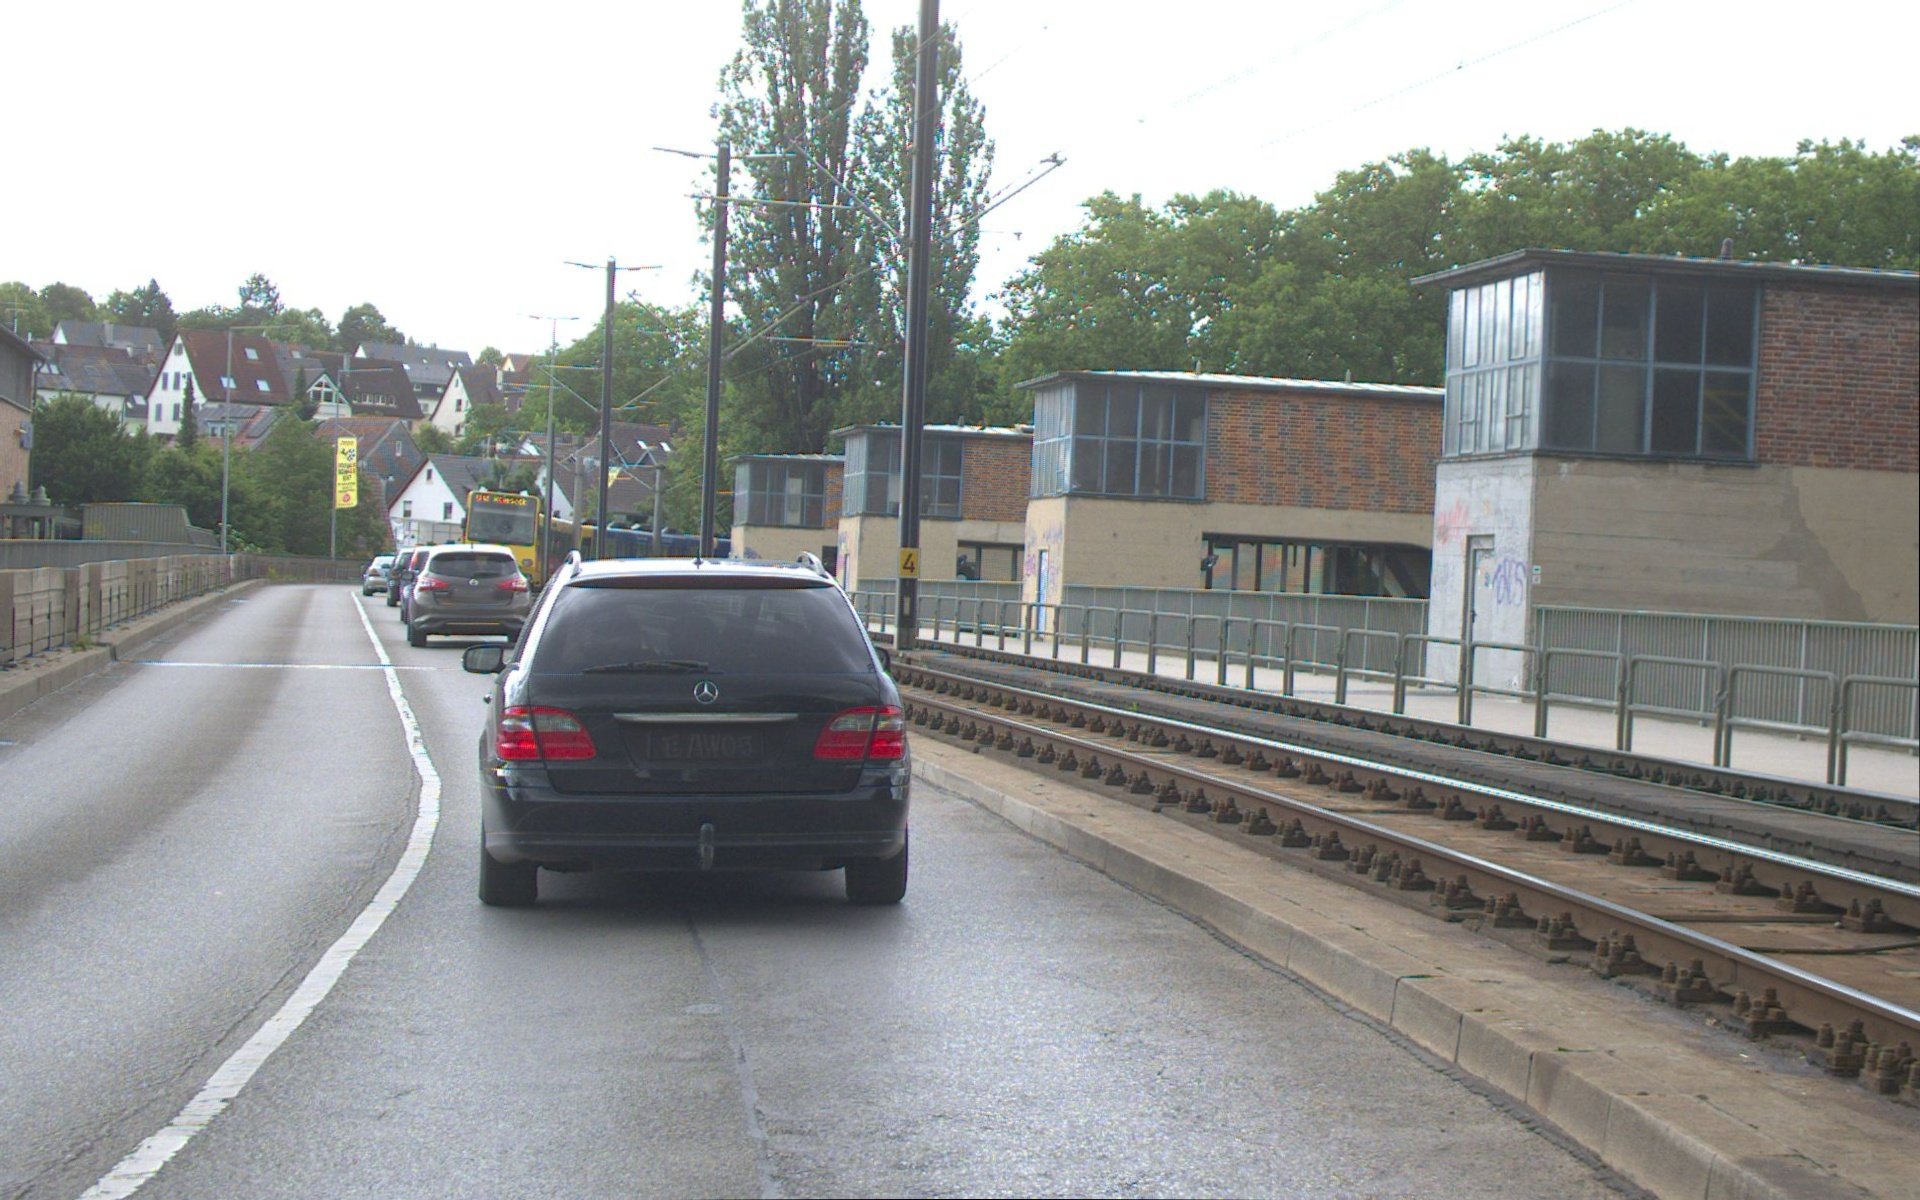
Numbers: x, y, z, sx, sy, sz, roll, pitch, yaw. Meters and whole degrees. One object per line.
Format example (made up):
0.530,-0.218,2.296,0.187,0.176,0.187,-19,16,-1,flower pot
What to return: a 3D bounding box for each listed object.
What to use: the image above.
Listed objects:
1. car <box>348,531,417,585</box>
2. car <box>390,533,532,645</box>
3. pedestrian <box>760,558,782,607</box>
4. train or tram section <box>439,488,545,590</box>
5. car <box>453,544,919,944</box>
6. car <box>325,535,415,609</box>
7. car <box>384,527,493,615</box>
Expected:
-18.611,-1.370,110.609,1.993,1.565,4.907,3,1,-11,car
-7.555,-0.192,51.754,1.770,1.550,4.242,2,1,-12,car
-6.197,-0.569,112.724,0.577,1.604,0.613,2,0,-9,pedestrian
-17.572,-2.244,128.013,2.881,3.497,18.672,1,1,-11,train or tram section
-1.381,0.532,15.555,1.758,1.510,4.443,1,1,-9,car
-14.112,-0.699,82.102,1.993,1.667,4.542,0,2,-11,car
-10.184,-0.598,66.907,1.993,1.559,4.999,0,2,-10,car
